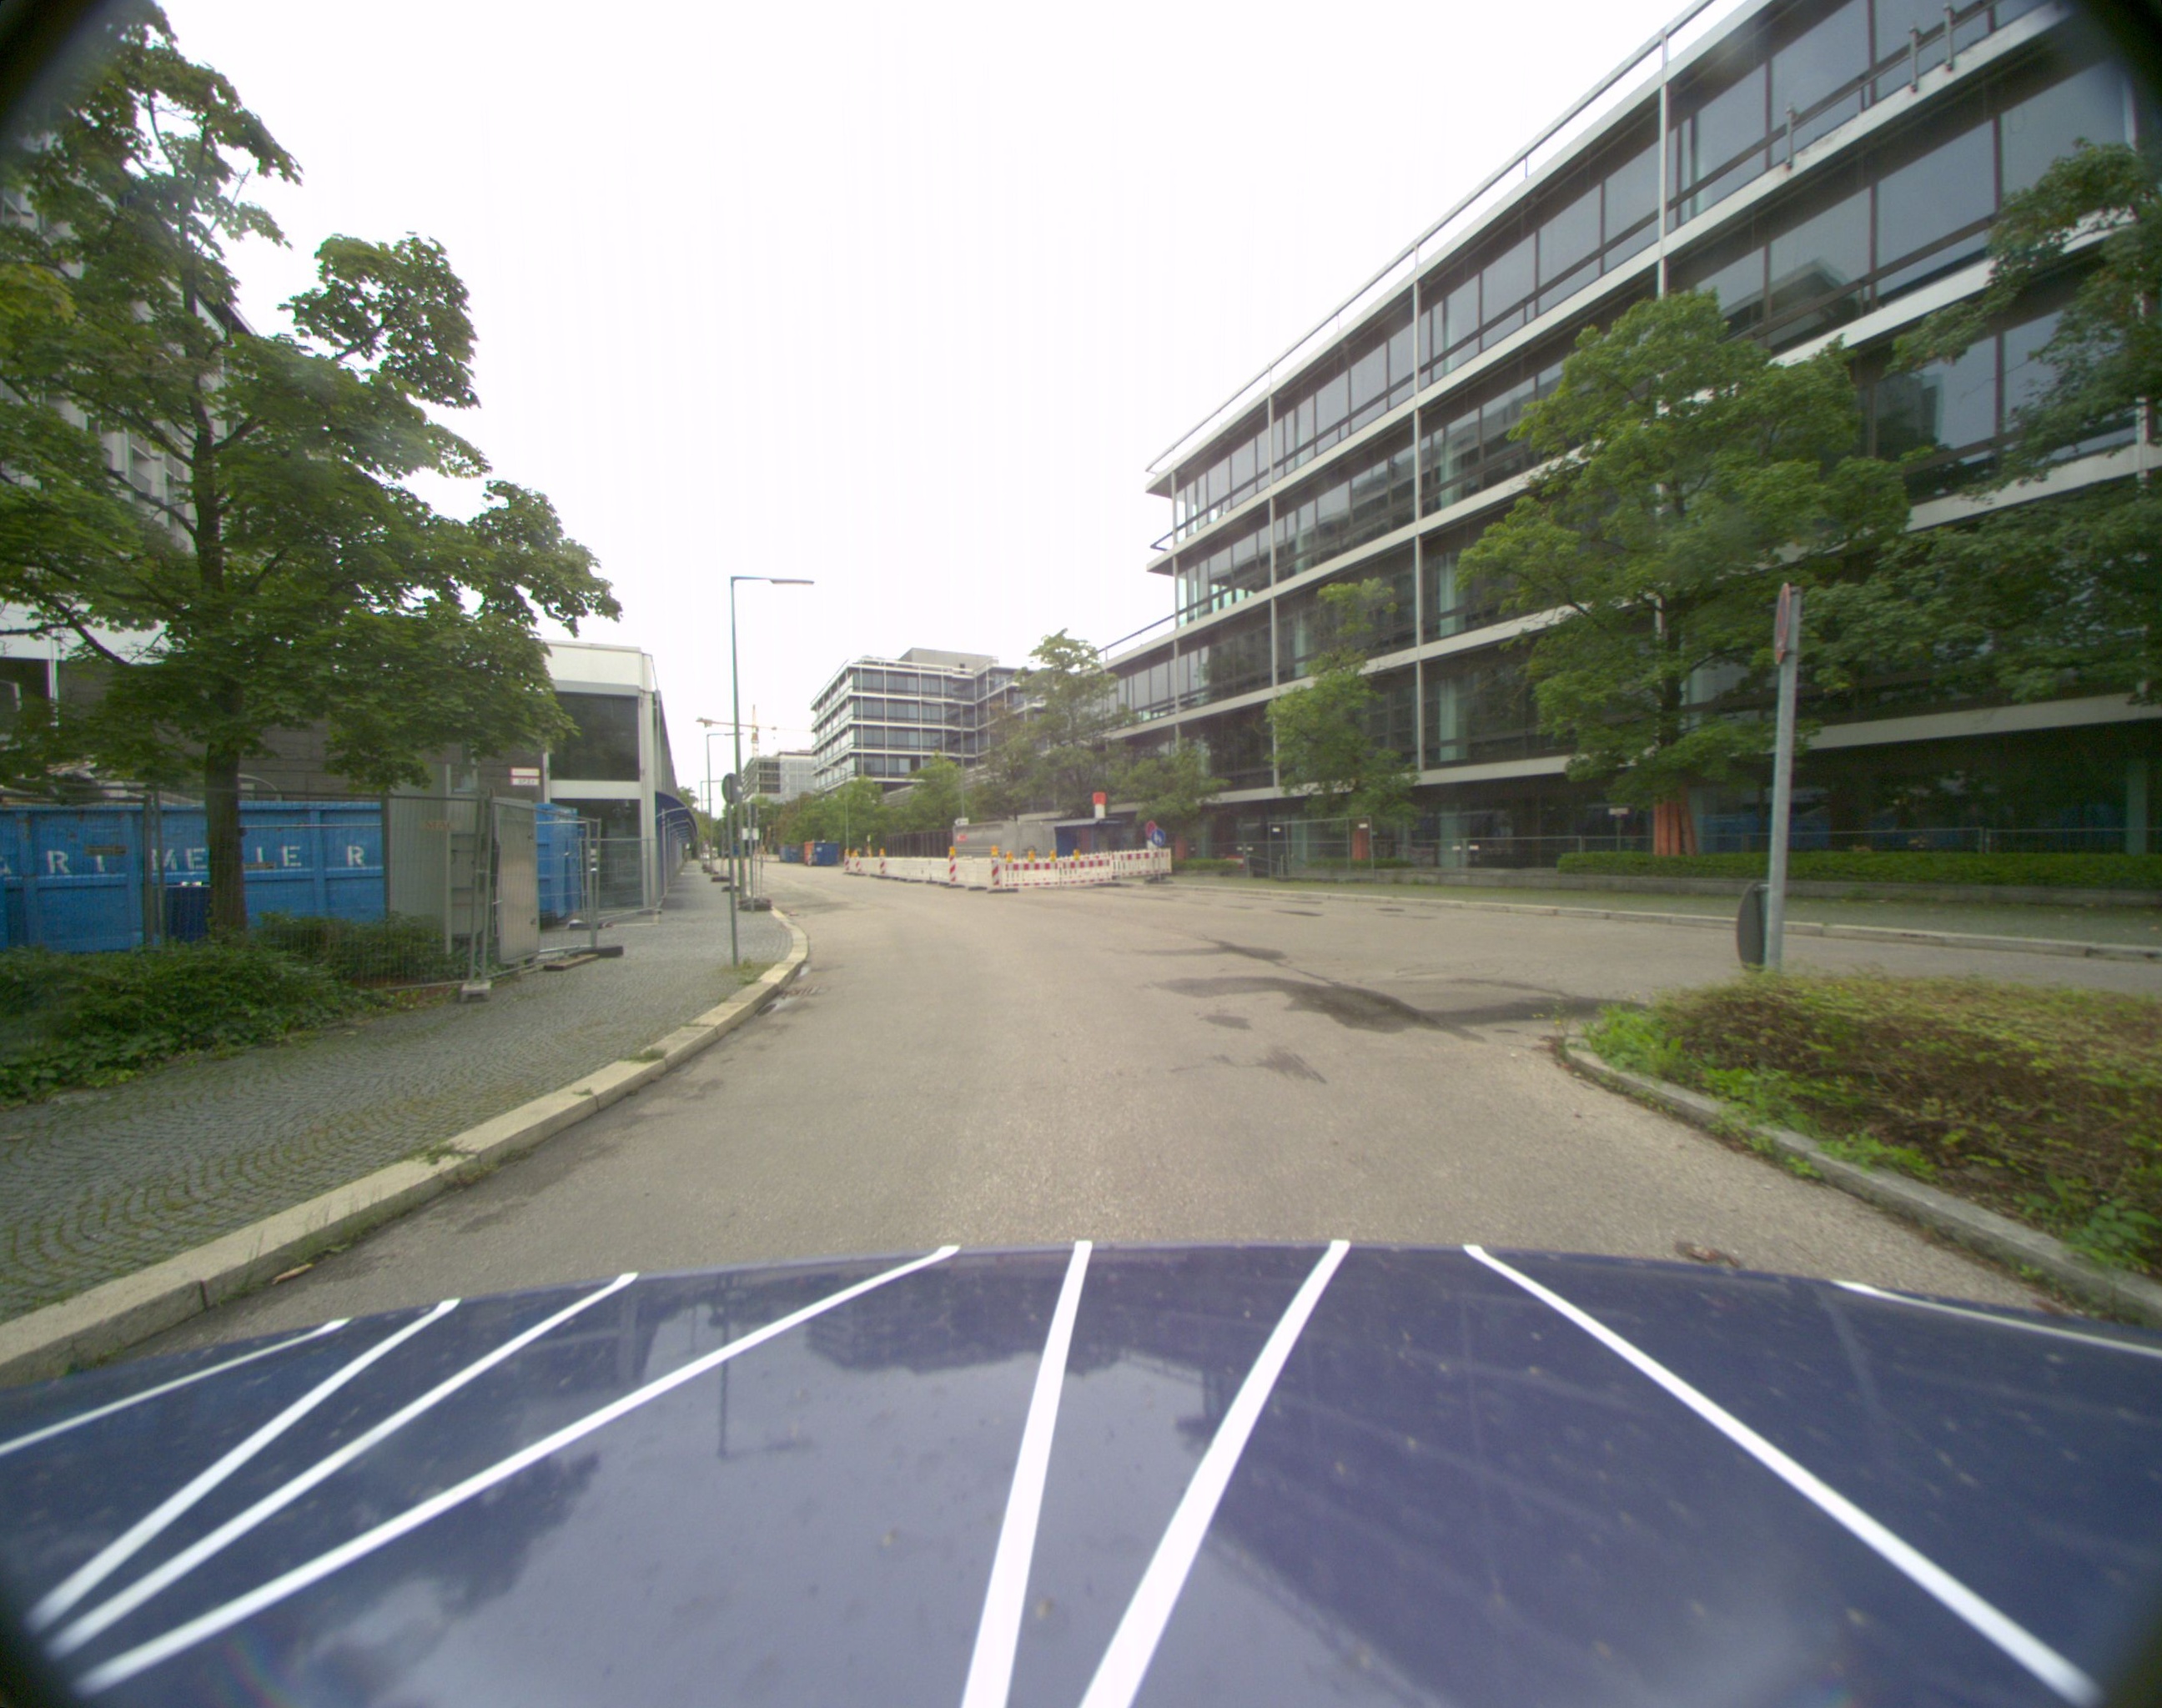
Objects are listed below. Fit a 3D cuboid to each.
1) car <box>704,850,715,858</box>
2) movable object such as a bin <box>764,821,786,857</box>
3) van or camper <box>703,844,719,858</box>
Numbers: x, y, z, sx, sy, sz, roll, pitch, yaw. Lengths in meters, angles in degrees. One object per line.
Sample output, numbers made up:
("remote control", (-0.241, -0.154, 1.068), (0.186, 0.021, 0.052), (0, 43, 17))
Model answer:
("car", (-76.968, -0.057, 157.545), (1.916, 1.627, 3.991), (-2, 1, -25))
("movable object such as a bin", (-56.100, -2.666, 139.055), (3.248, 6.286, 8.318), (-2, 1, -25))
("van or camper", (-79.472, -0.677, 163.291), (2.672, 2.751, 6.900), (-2, 1, -24))
